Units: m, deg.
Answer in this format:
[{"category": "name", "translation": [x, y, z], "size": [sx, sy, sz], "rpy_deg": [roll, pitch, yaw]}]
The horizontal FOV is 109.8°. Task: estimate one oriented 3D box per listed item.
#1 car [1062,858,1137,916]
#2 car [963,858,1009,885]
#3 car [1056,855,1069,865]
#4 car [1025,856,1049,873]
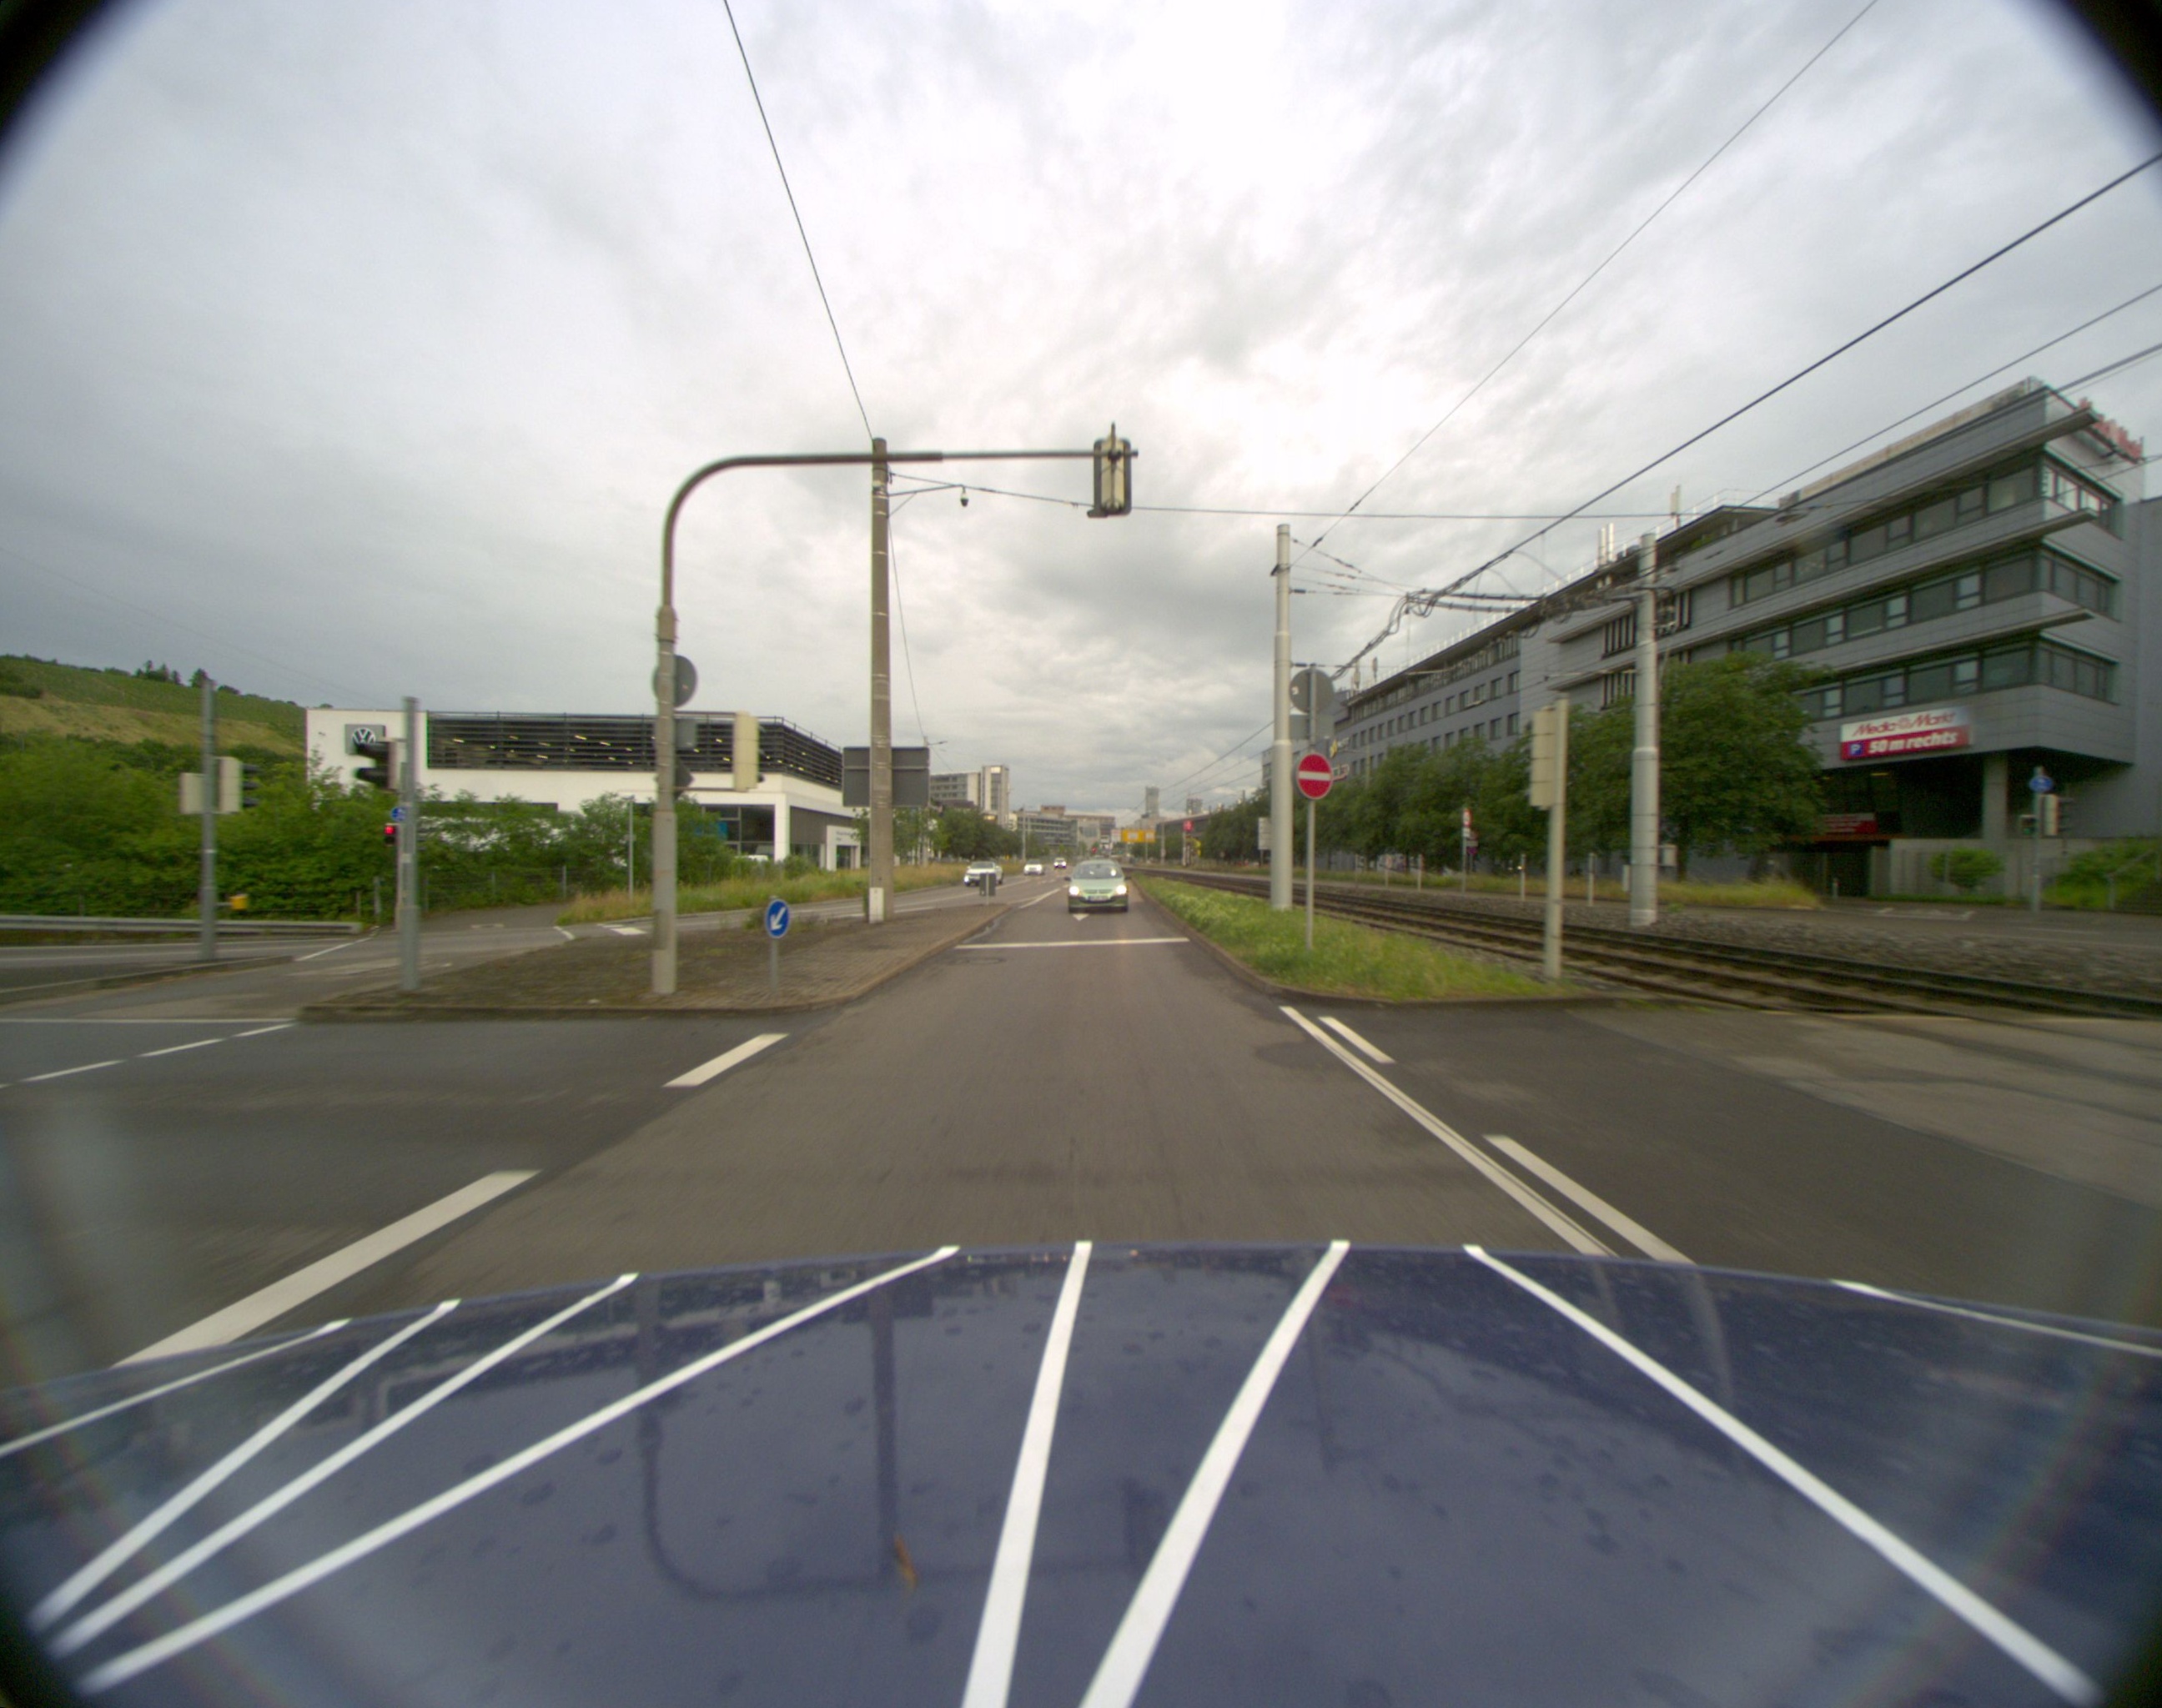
[{"category": "car", "translation": [0.650, 0.921, 22.986], "size": [1.779, 1.493, 4.002], "rpy_deg": [1, 1, 8]}, {"category": "car", "translation": [-5.887, 1.053, 47.519], "size": [2.039, 1.531, 4.111], "rpy_deg": [0, 1, 4]}, {"category": "car", "translation": [-2.929, 0.946, 121.174], "size": [1.993, 1.531, 4.109], "rpy_deg": [-1, 1, -1]}, {"category": "car", "translation": [-4.189, 0.983, 72.809], "size": [1.993, 1.531, 4.109], "rpy_deg": [-1, 1, 1]}]
